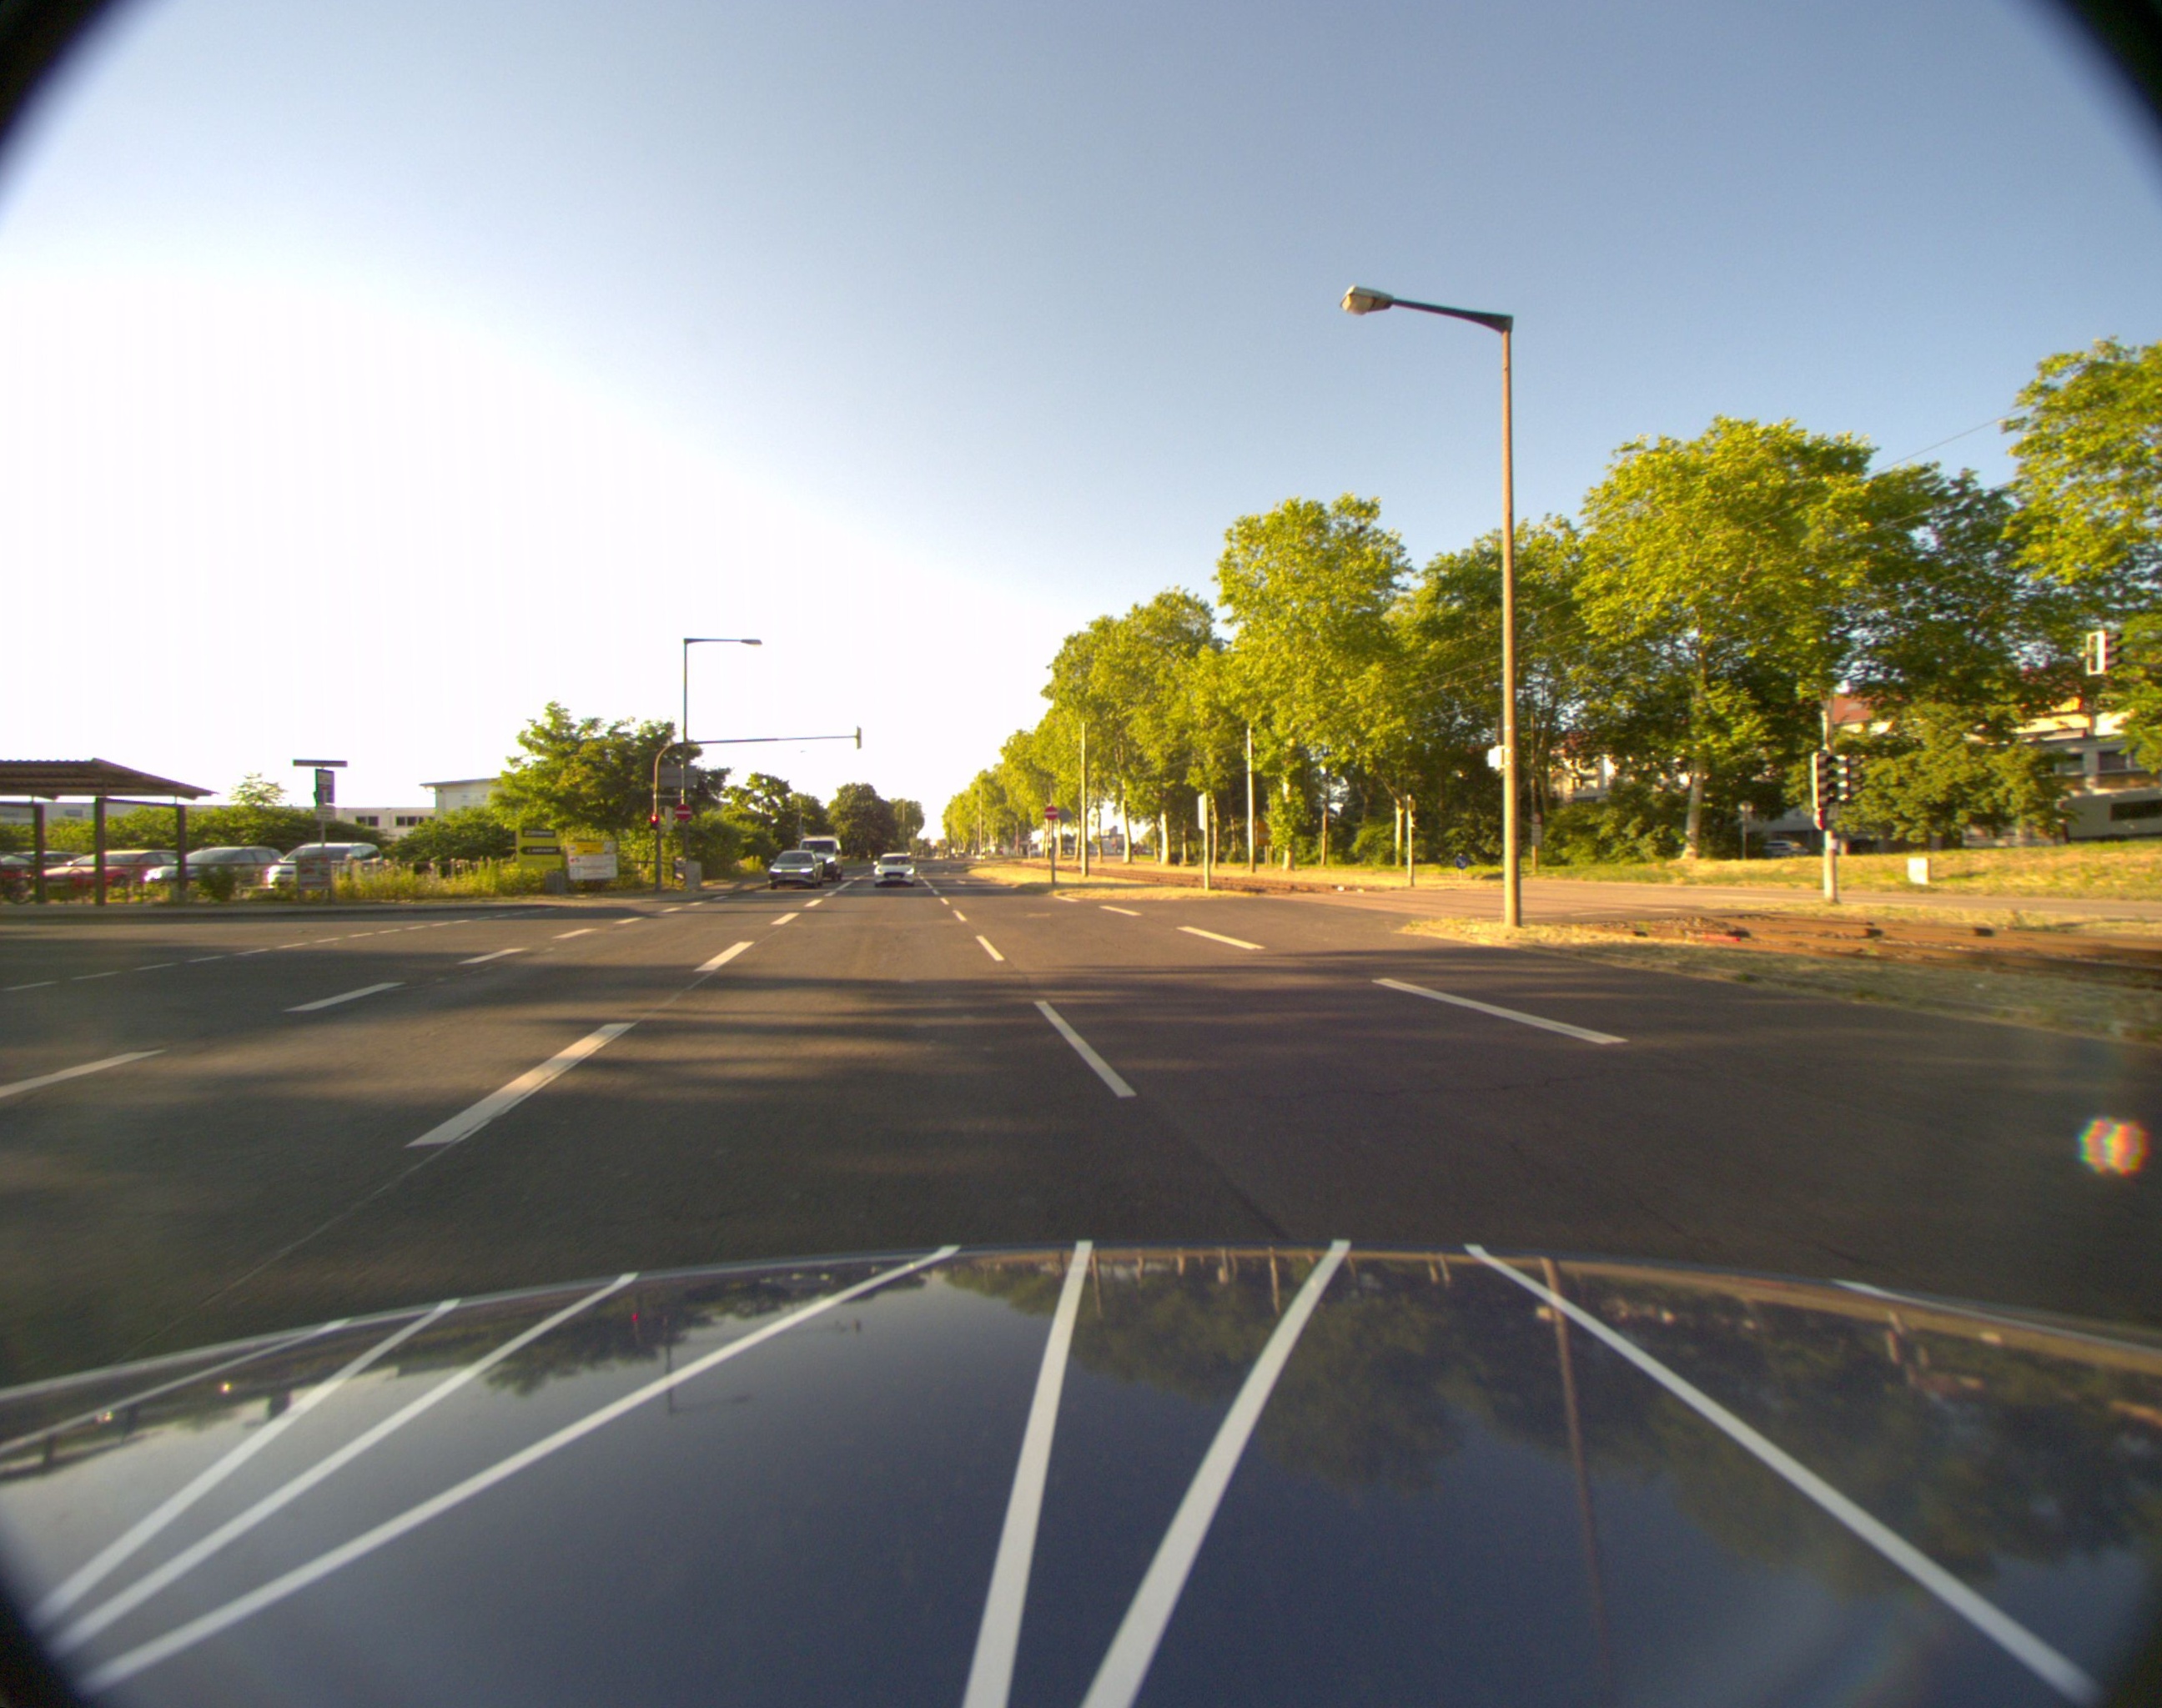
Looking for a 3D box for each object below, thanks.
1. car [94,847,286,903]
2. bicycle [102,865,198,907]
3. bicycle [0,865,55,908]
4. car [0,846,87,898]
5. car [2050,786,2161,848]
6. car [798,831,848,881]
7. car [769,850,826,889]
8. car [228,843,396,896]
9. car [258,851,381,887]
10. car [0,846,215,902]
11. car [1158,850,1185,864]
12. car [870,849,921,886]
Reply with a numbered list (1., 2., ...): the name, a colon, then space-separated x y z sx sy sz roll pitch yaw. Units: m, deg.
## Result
1. car: -28.664 0.643 24.690 2.121 1.639 3.995 0 0 -14
2. bicycle: -24.706 0.822 20.214 0.544 1.032 1.891 0 0 -12
3. bicycle: -27.164 0.817 19.078 0.544 1.032 1.891 0 0 -12
4. car: -34.948 0.557 23.975 2.121 1.639 4.315 0 0 -14
5. car: 45.333 -1.561 31.885 1.807 2.498 5.624 0 0 -8
6. car: -14.219 0.109 42.221 2.010 2.551 5.869 0 0 -12
7. car: -12.549 0.660 33.892 1.877 1.608 4.542 0 0 -14
8. car: -25.822 0.488 25.763 2.121 1.639 4.222 0 0 -14
9. car: -36.970 0.713 37.070 2.119 1.627 3.999 0 0 -4
10. car: -31.451 0.605 24.792 2.121 1.639 4.315 0 0 -14
11. car: 9.898 0.359 83.435 1.631 1.433 3.980 0 0 -13
12. car: -8.504 0.587 35.161 1.876 1.608 3.997 0 0 -8
